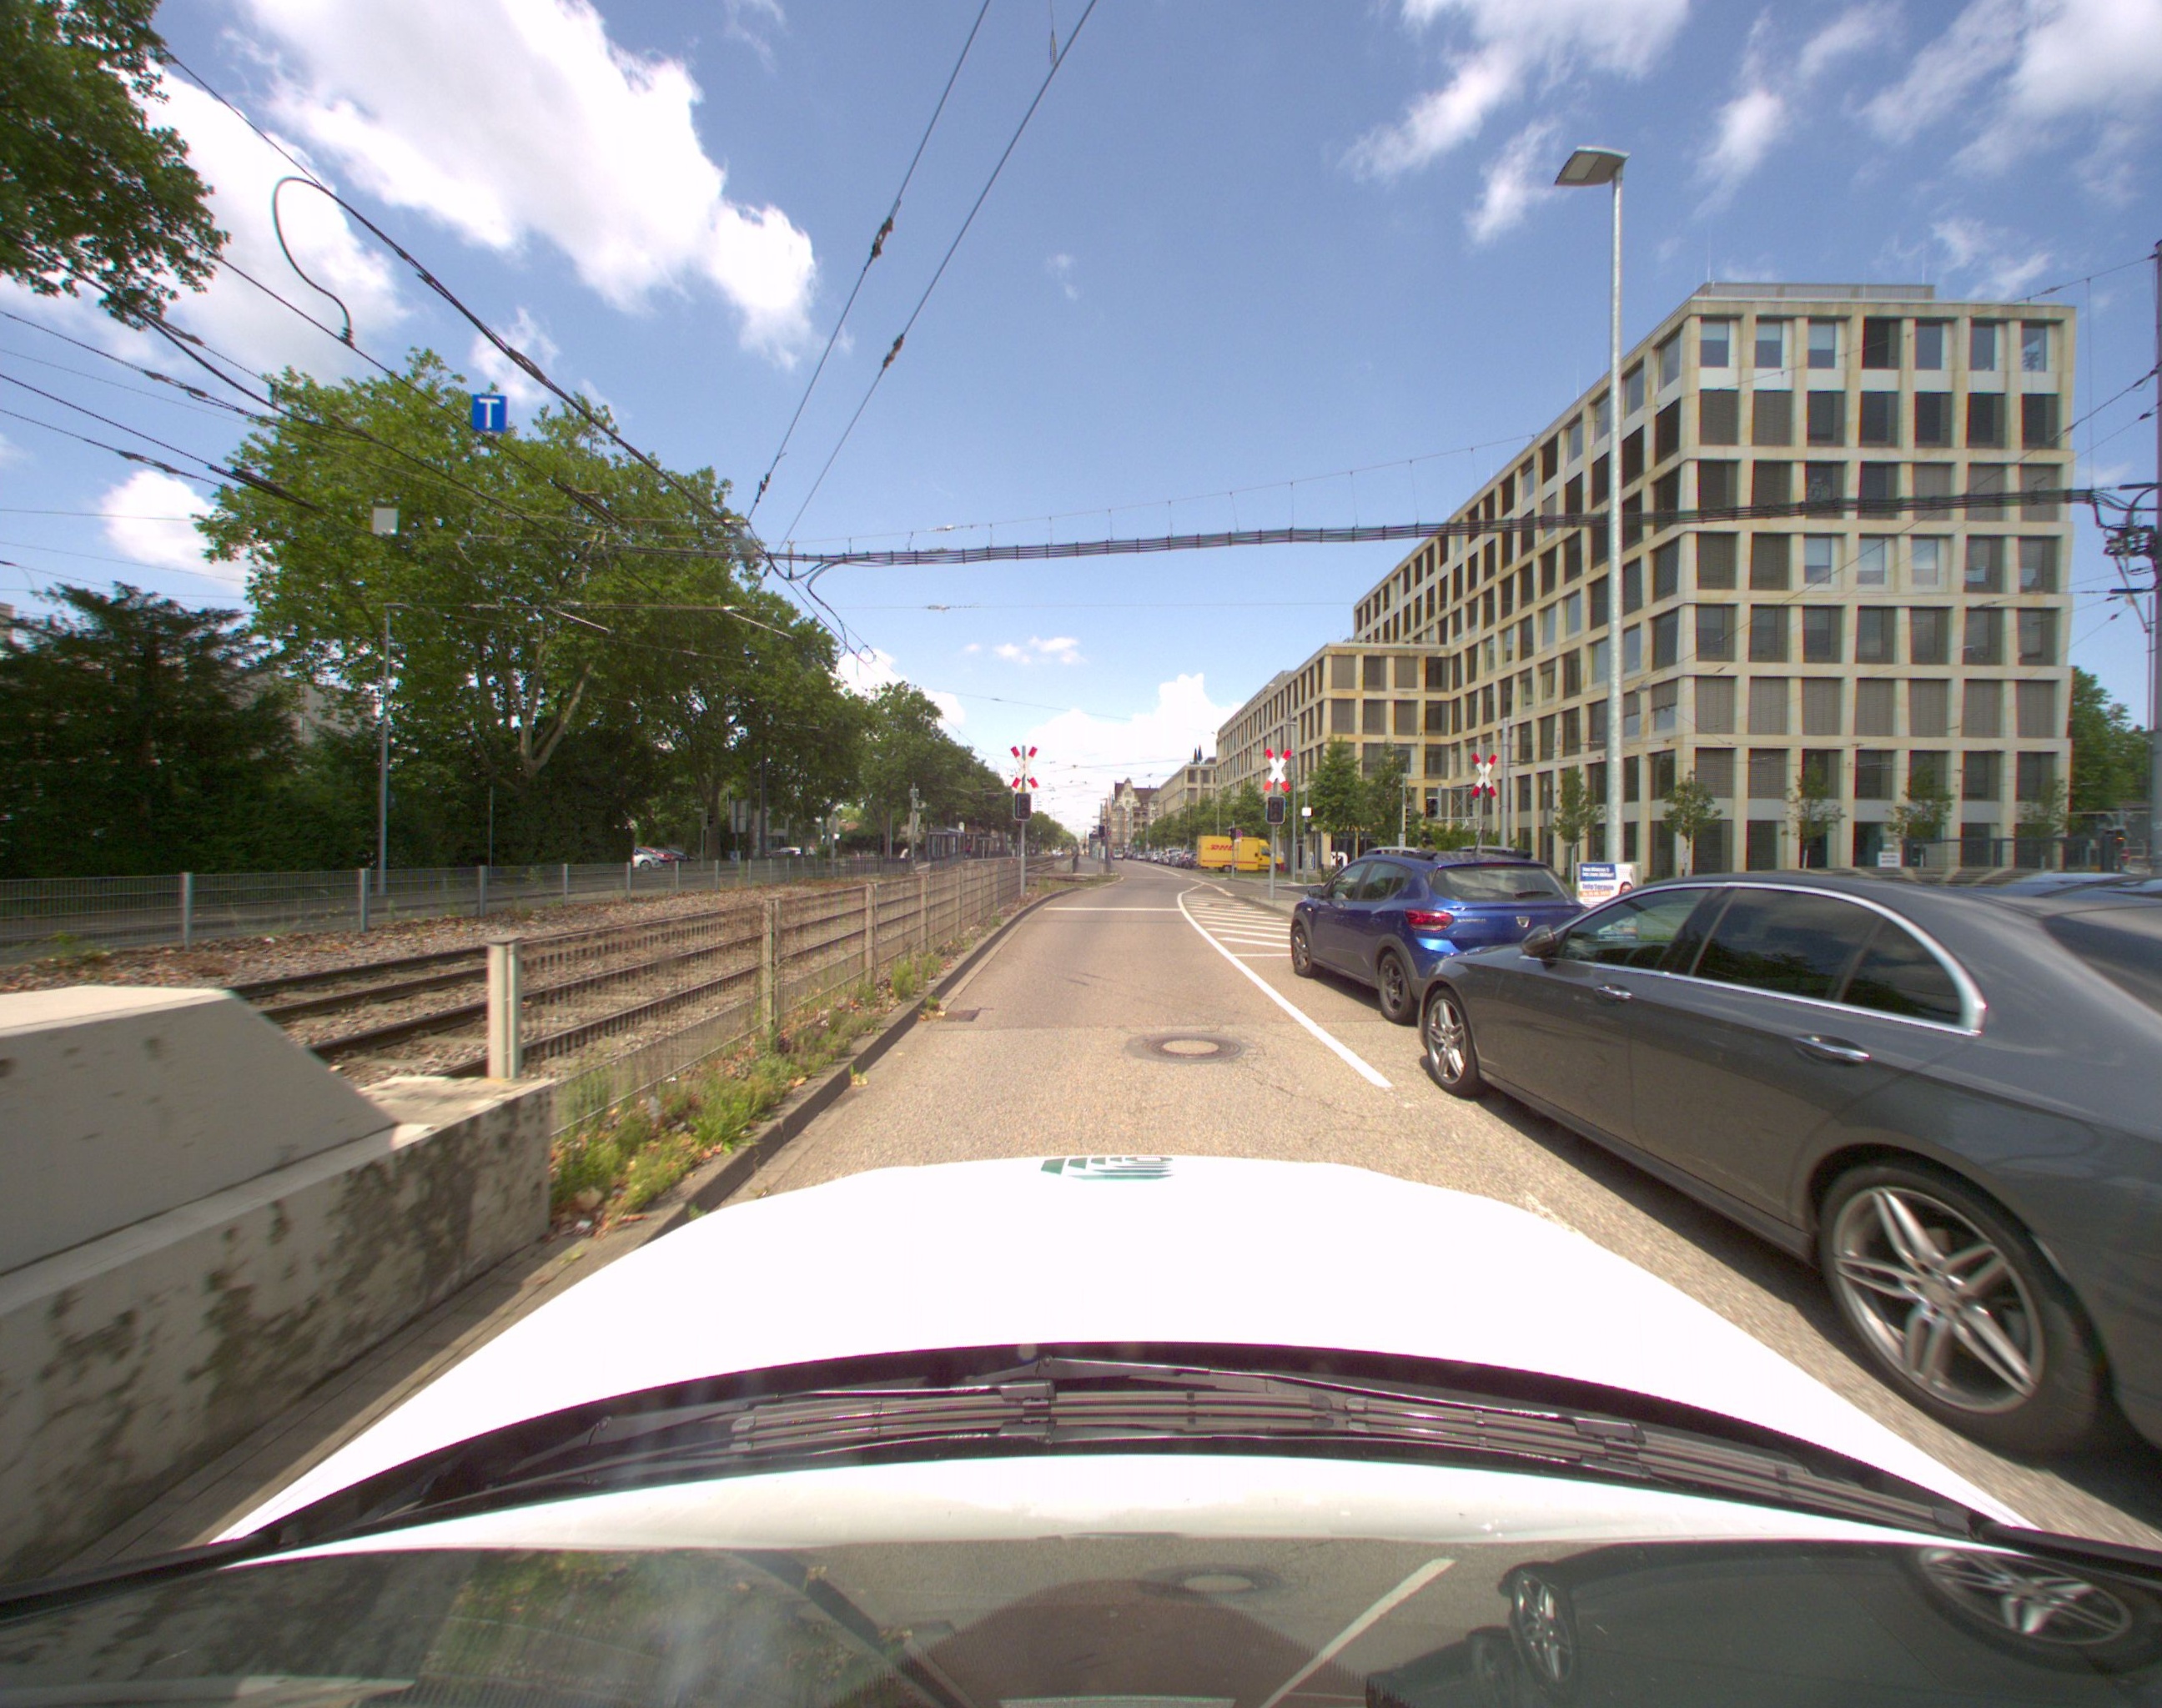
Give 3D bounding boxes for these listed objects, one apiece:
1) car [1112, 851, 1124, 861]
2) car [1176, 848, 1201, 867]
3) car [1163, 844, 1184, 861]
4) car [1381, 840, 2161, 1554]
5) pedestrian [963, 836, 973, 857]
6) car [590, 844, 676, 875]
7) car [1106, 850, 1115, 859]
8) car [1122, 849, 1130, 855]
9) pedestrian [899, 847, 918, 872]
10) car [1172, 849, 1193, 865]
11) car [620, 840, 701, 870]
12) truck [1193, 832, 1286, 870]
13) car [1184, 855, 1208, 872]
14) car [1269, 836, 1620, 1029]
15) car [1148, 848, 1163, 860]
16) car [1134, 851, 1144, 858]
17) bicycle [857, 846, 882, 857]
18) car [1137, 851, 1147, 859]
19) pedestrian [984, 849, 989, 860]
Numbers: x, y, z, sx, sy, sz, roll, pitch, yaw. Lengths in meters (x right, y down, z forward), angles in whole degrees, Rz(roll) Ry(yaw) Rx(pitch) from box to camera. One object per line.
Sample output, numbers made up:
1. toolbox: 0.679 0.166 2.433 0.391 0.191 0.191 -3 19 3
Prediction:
1. car: 6.409 0.341 141.037 1.863 1.746 3.999 1 0 0
2. car: 10.300 0.326 78.450 1.763 1.767 4.840 0 0 0
3. car: 10.741 -0.201 94.853 1.875 1.939 4.843 -1 0 0
4. car: 3.158 0.684 3.653 1.810 1.454 4.990 -1 1 0
5. pedestrian: -10.319 -0.673 74.266 0.704 1.845 0.864 -1 0 -1
6. car: -26.263 0.280 47.850 3.978 1.750 1.802 0 0 -3
7. car: 6.748 0.187 188.893 1.987 2.013 4.000 -1 0 1
8. car: 10.305 -0.439 187.069 1.439 1.470 4.090 -2 0 -1
9. pedestrian: -9.598 0.311 45.363 0.860 1.343 0.922 -1 0 -3
10. car: 10.387 0.267 83.560 1.715 1.619 3.860 0 0 0
11. car: -25.750 0.044 49.981 3.978 1.750 1.802 0 0 -3
12. truck: 12.357 -0.229 63.782 6.788 2.867 2.453 0 0 -2
13. car: 10.287 0.815 73.130 1.685 1.504 4.068 0 0 0
14. car: 3.487 0.618 8.870 1.774 1.540 4.418 -1 0 -1
15. car: 10.586 -0.050 115.946 1.680 1.606 4.152 -1 0 0
16. car: 11.398 0.102 160.068 1.587 1.434 4.105 2 0 -1
17. bicycle: -26.977 -0.343 103.788 3.024 1.167 0.635 3 0 4
18. car: 11.139 0.180 148.539 1.585 1.460 3.614 2 1 2
19. pedestrian: -11.440 0.082 98.469 0.550 1.269 0.768 0 0 2
